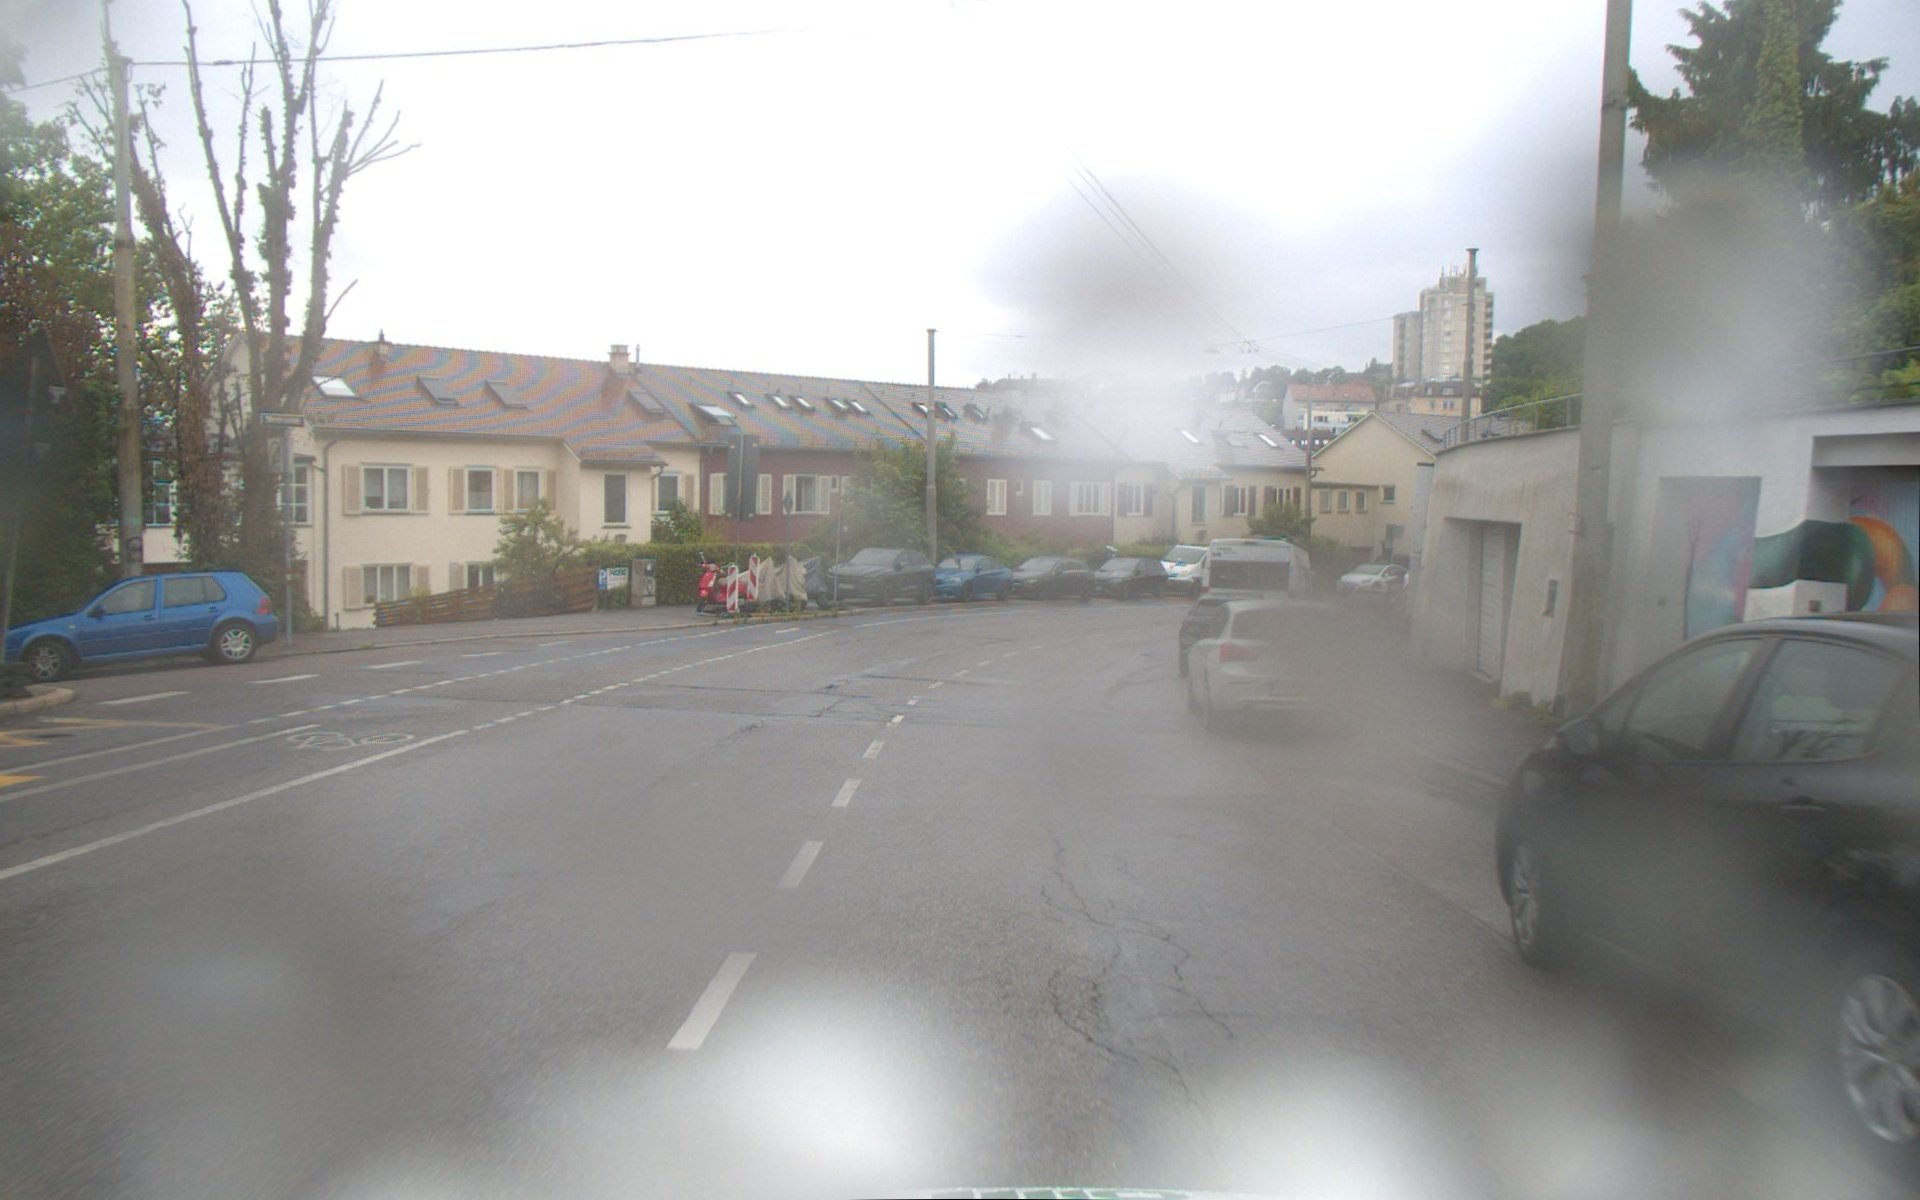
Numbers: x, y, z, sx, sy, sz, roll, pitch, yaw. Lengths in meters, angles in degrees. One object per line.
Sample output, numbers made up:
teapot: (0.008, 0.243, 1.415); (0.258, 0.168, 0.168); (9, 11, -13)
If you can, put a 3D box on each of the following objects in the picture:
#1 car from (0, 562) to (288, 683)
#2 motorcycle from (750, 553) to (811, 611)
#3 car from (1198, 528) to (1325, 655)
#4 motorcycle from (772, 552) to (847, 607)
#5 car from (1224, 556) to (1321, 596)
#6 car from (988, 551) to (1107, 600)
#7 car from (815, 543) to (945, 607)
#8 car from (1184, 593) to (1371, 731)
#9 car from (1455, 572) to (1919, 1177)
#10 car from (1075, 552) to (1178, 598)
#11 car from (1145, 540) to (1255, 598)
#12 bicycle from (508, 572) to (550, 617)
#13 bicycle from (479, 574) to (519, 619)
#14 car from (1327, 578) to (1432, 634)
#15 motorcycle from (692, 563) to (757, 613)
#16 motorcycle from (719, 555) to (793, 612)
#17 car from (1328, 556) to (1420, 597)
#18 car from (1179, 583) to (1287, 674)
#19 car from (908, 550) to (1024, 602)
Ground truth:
car: (-12.473, 0.360, 25.111); (3.897, 1.695, 1.819); (2, -1, -36)
motorcycle: (-4.575, -0.457, 42.096); (0.607, 1.325, 1.783); (1, 4, -39)
car: (6.829, -0.195, 36.988); (2.055, 2.586, 5.623); (1, 1, 18)
motorcycle: (-3.967, -0.542, 43.564); (1.865, 1.293, 0.574); (3, 3, -9)
car: (13.330, -1.001, 70.393); (1.785, 1.502, 4.490); (6, 4, 44)
car: (3.041, -0.834, 56.706); (1.780, 1.501, 4.502); (6, 4, 38)
car: (-2.218, -0.749, 47.416); (1.884, 1.603, 4.386); (5, 3, 24)
car: (3.636, 0.651, 19.566); (1.669, 1.439, 4.043); (1, 0, 4)
car: (3.223, 0.697, 5.714); (1.679, 1.540, 3.998); (0, 0, -3)
car: (6.202, -0.915, 61.312); (1.778, 1.501, 4.506); (6, 3, 35)
car: (9.623, -1.202, 66.010); (1.821, 2.114, 4.992); (6, 4, 41)
bicycle: (-10.584, -0.129, 40.638); (1.279, 1.053, 0.303); (-2, -4, 40)
bicycle: (-11.597, -0.081, 41.586); (1.304, 1.053, 0.303); (-3, -4, 42)
car: (12.848, 0.170, 50.505); (1.650, 1.508, 4.187); (5, 3, 35)
motorcycle: (-5.626, -0.298, 39.599); (0.500, 1.159, 1.919); (1, 2, 29)
motorcycle: (-5.079, -0.426, 41.205); (1.765, 1.301, 0.511); (4, 3, 23)
car: (19.076, -1.053, 76.102); (4.642, 1.658, 1.905); (1, 4, -45)
car: (5.254, 0.482, 31.501); (1.716, 1.521, 4.188); (2, 1, 13)
car: (0.242, -0.782, 52.049); (1.667, 1.428, 4.467); (6, 4, 28)
